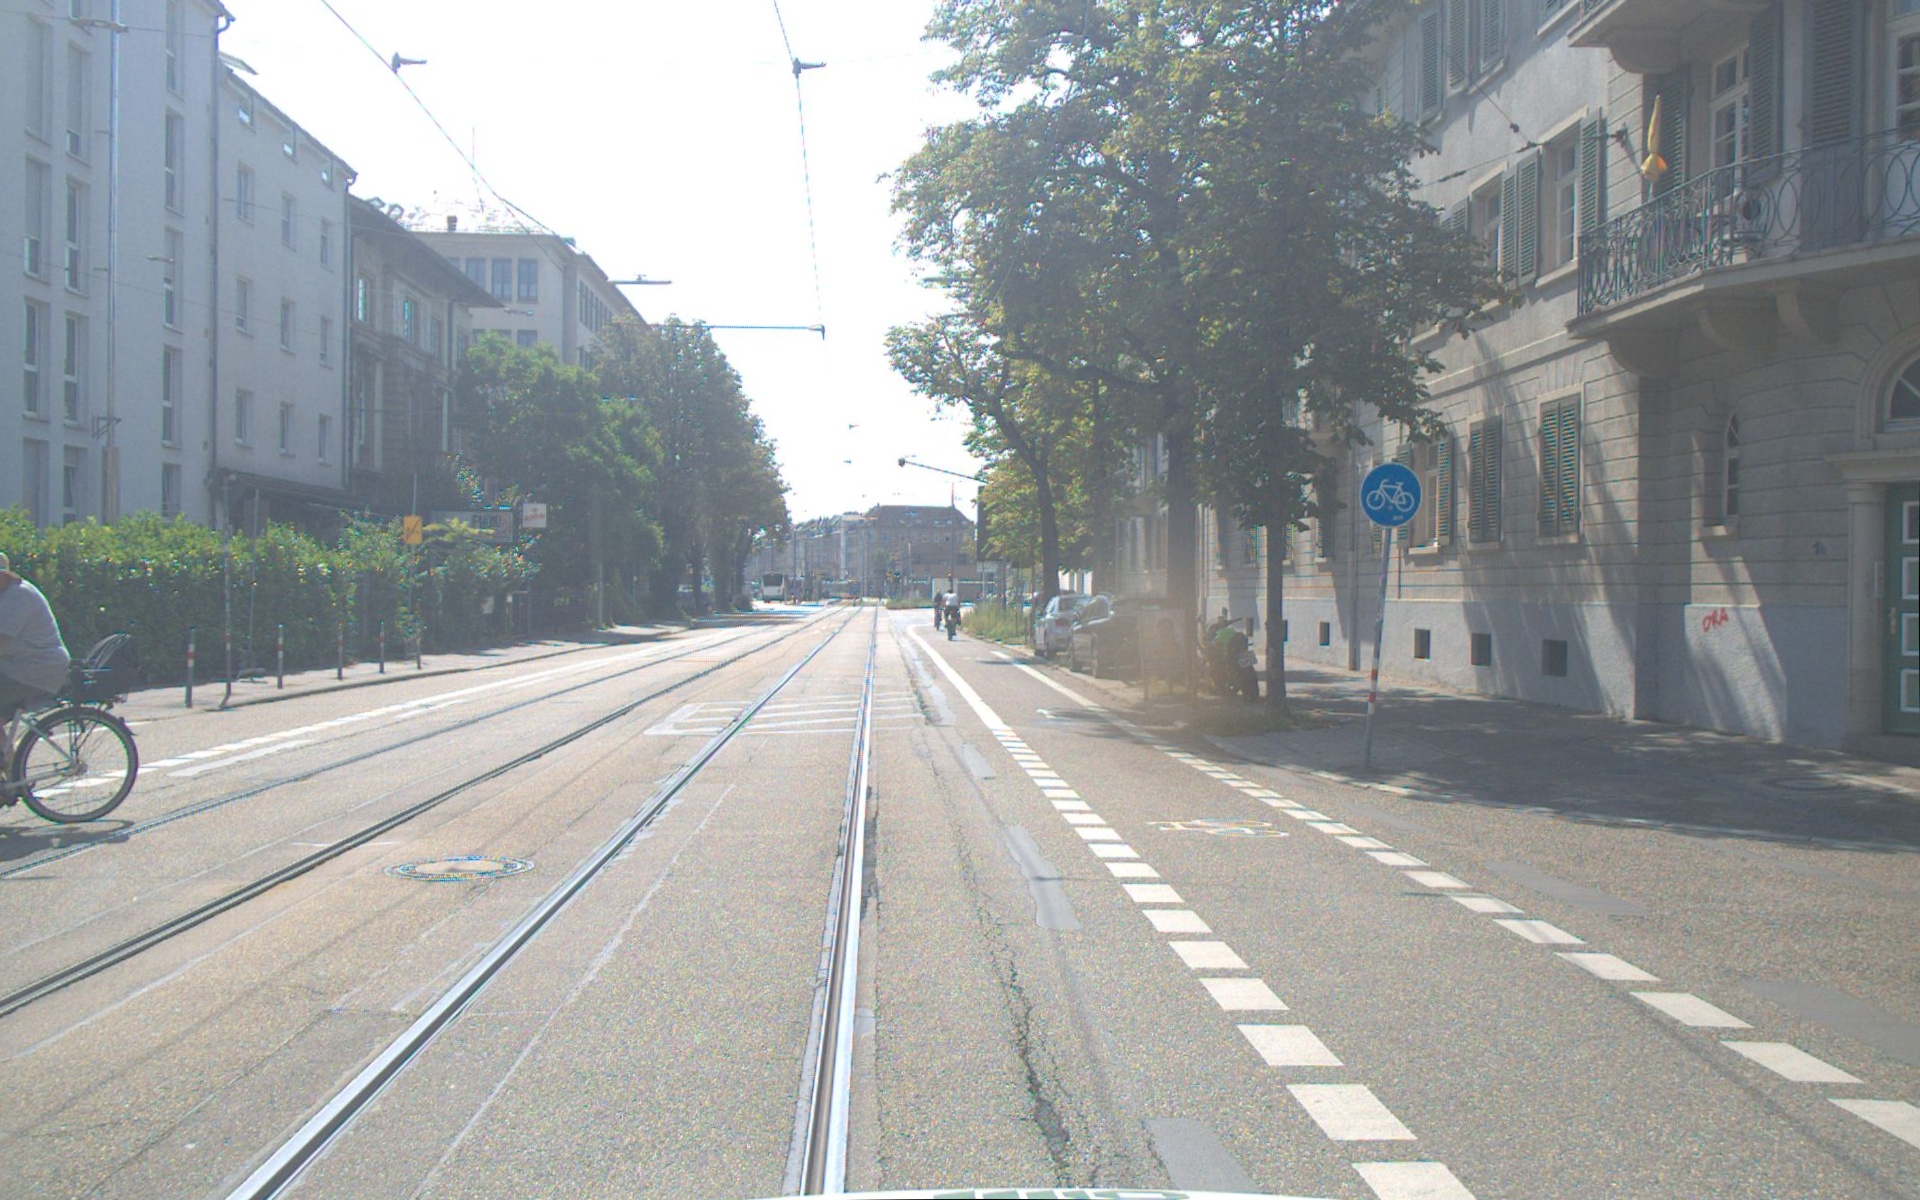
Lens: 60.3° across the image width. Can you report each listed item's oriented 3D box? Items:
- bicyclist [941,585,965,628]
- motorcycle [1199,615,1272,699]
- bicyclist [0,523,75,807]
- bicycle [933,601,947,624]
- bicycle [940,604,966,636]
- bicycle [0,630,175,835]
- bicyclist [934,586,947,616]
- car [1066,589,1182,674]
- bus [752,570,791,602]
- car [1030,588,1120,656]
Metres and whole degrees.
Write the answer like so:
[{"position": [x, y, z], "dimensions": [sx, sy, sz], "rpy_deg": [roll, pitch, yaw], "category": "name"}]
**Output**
[{"position": [-0.239, 0.213, 54.343], "dimensions": [0.743, 1.416, 0.779], "rpy_deg": [1, 0, -3], "category": "bicyclist"}, {"position": [3.892, 0.776, 23.497], "dimensions": [0.538, 1.086, 2.329], "rpy_deg": [1, 0, -3], "category": "motorcycle"}, {"position": [-5.892, 0.374, 10.004], "dimensions": [0.818, 1.671, 0.774], "rpy_deg": [0, 1, -39], "category": "bicyclist"}, {"position": [-0.841, 0.526, 70.659], "dimensions": [0.576, 0.955, 2.171], "rpy_deg": [1, 0, -1], "category": "bicycle"}, {"position": [-0.242, 0.645, 54.331], "dimensions": [0.743, 1.008, 2.297], "rpy_deg": [1, 0, -3], "category": "bicycle"}, {"position": [-5.921, 0.787, 9.985], "dimensions": [2.020, 1.171, 0.775], "rpy_deg": [0, 1, -38], "category": "bicycle"}, {"position": [-0.838, 0.045, 70.651], "dimensions": [0.567, 1.301, 0.471], "rpy_deg": [1, 0, -1], "category": "bicyclist"}, {"position": [3.006, 0.560, 30.865], "dimensions": [1.552, 1.490, 3.412], "rpy_deg": [1, 0, -5], "category": "car"}, {"position": [-21.336, -1.599, 188.000], "dimensions": [3.661, 3.423, 15.109], "rpy_deg": [1, 0, -3], "category": "bus"}, {"position": [2.609, 0.491, 38.180], "dimensions": [1.552, 1.490, 3.464], "rpy_deg": [1, 0, -5], "category": "car"}]
